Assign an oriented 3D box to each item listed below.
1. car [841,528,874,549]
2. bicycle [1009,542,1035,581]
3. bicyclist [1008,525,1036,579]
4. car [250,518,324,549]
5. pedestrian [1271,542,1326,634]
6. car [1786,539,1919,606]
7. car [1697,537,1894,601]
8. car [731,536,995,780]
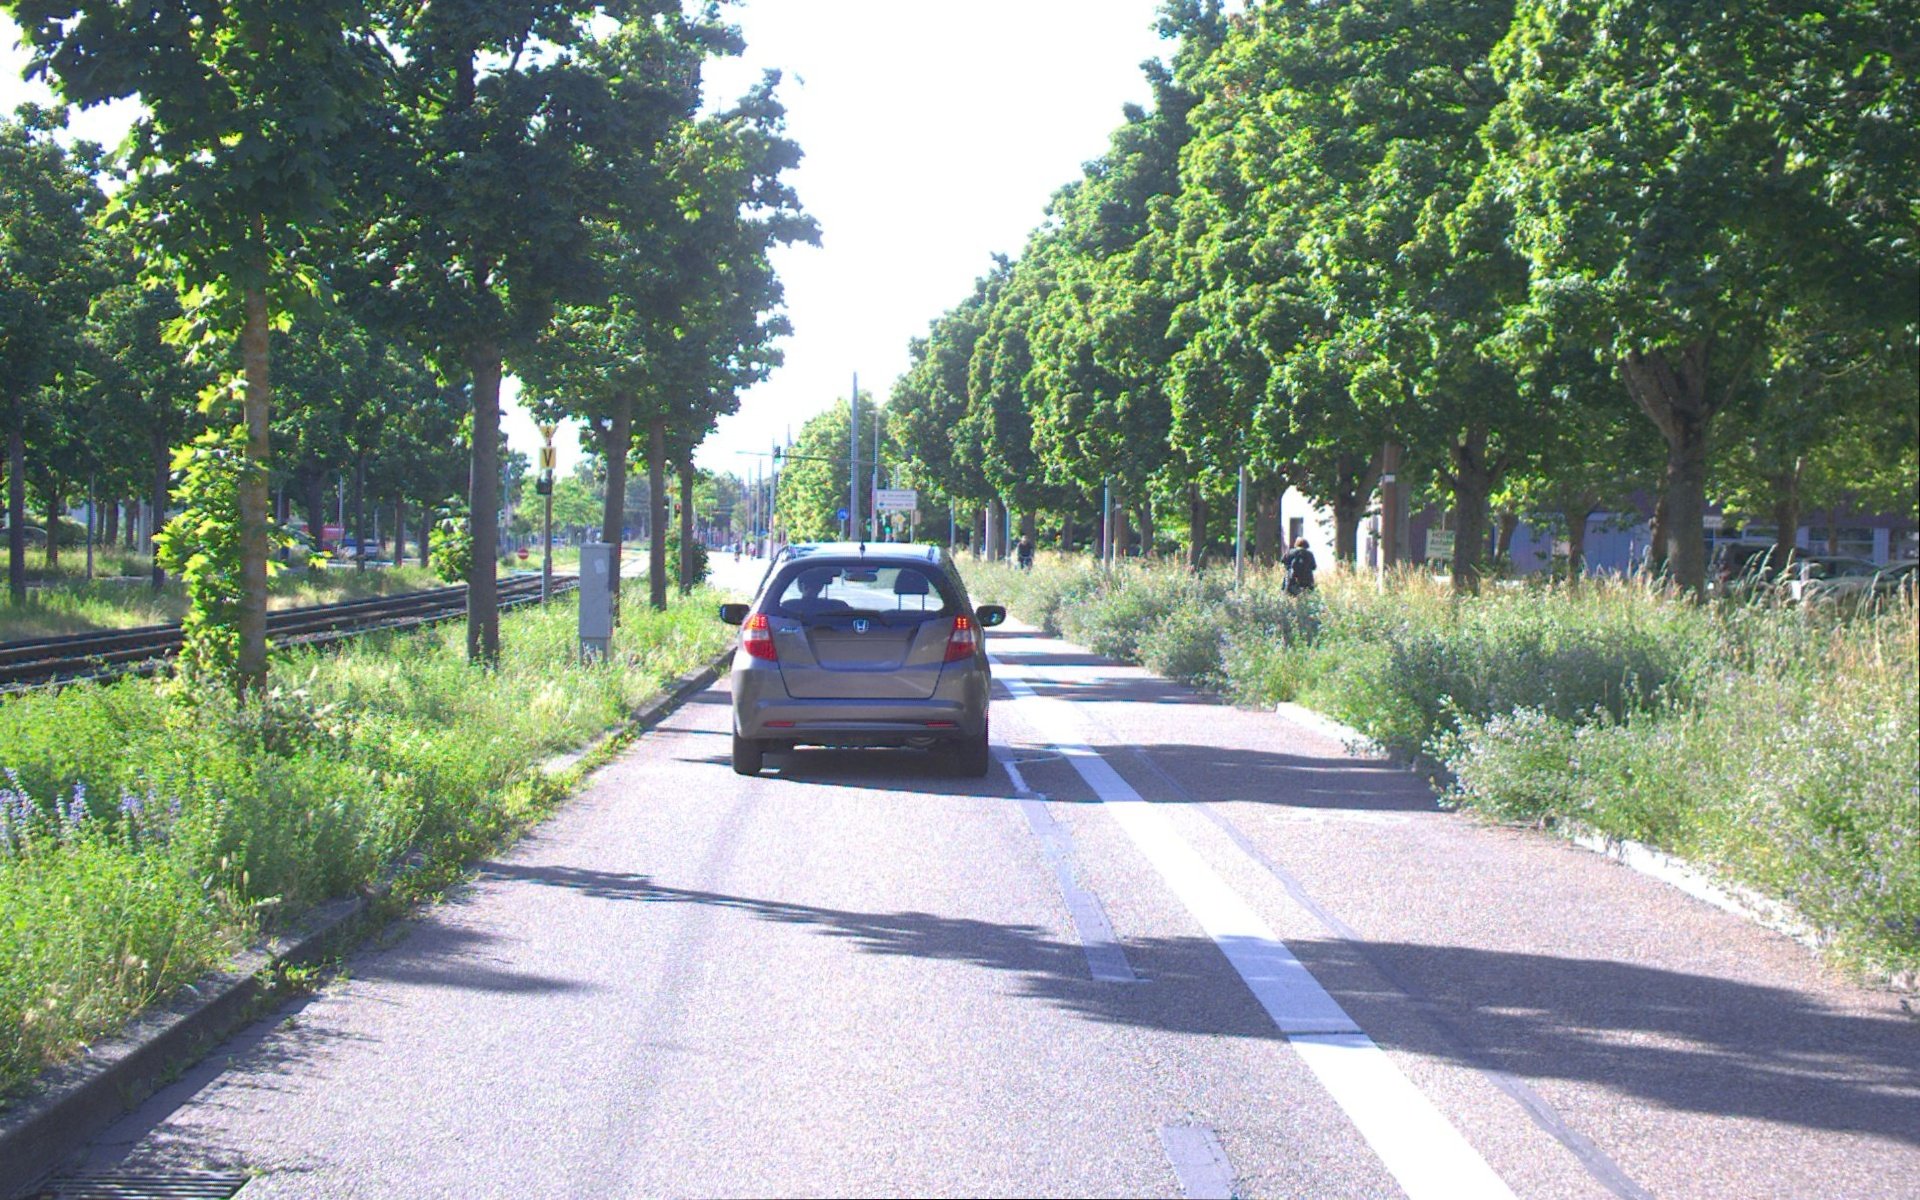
[{"bbox_3d":[-7.057,-4.233,236.469,1.773,1.382,3.871,0,1,-8],"label":"car"},{"bbox_3d":[1.963,-1.213,108.803,0.482,1.200,2.144,1,-1,-8],"label":"bicycle"},{"bbox_3d":[1.958,-1.518,108.774,0.683,1.714,0.903,1,0,-10],"label":"bicyclist"},{"bbox_3d":[-43.843,-4.326,223.969,1.858,1.967,4.777,2,2,36],"label":"car"},{"bbox_3d":[5.811,-0.210,59.034,0.824,1.563,0.762,1,1,-1],"label":"pedestrian"},{"bbox_3d":[20.668,-0.598,76.427,4.165,1.427,1.824,2,1,1],"label":"car"},{"bbox_3d":[20.286,-0.767,83.552,4.356,1.454,1.689,1,1,1],"label":"car"},{"bbox_3d":[-0.720,0.333,23.293,1.624,1.494,3.457,1,1,-4],"label":"car"}]
